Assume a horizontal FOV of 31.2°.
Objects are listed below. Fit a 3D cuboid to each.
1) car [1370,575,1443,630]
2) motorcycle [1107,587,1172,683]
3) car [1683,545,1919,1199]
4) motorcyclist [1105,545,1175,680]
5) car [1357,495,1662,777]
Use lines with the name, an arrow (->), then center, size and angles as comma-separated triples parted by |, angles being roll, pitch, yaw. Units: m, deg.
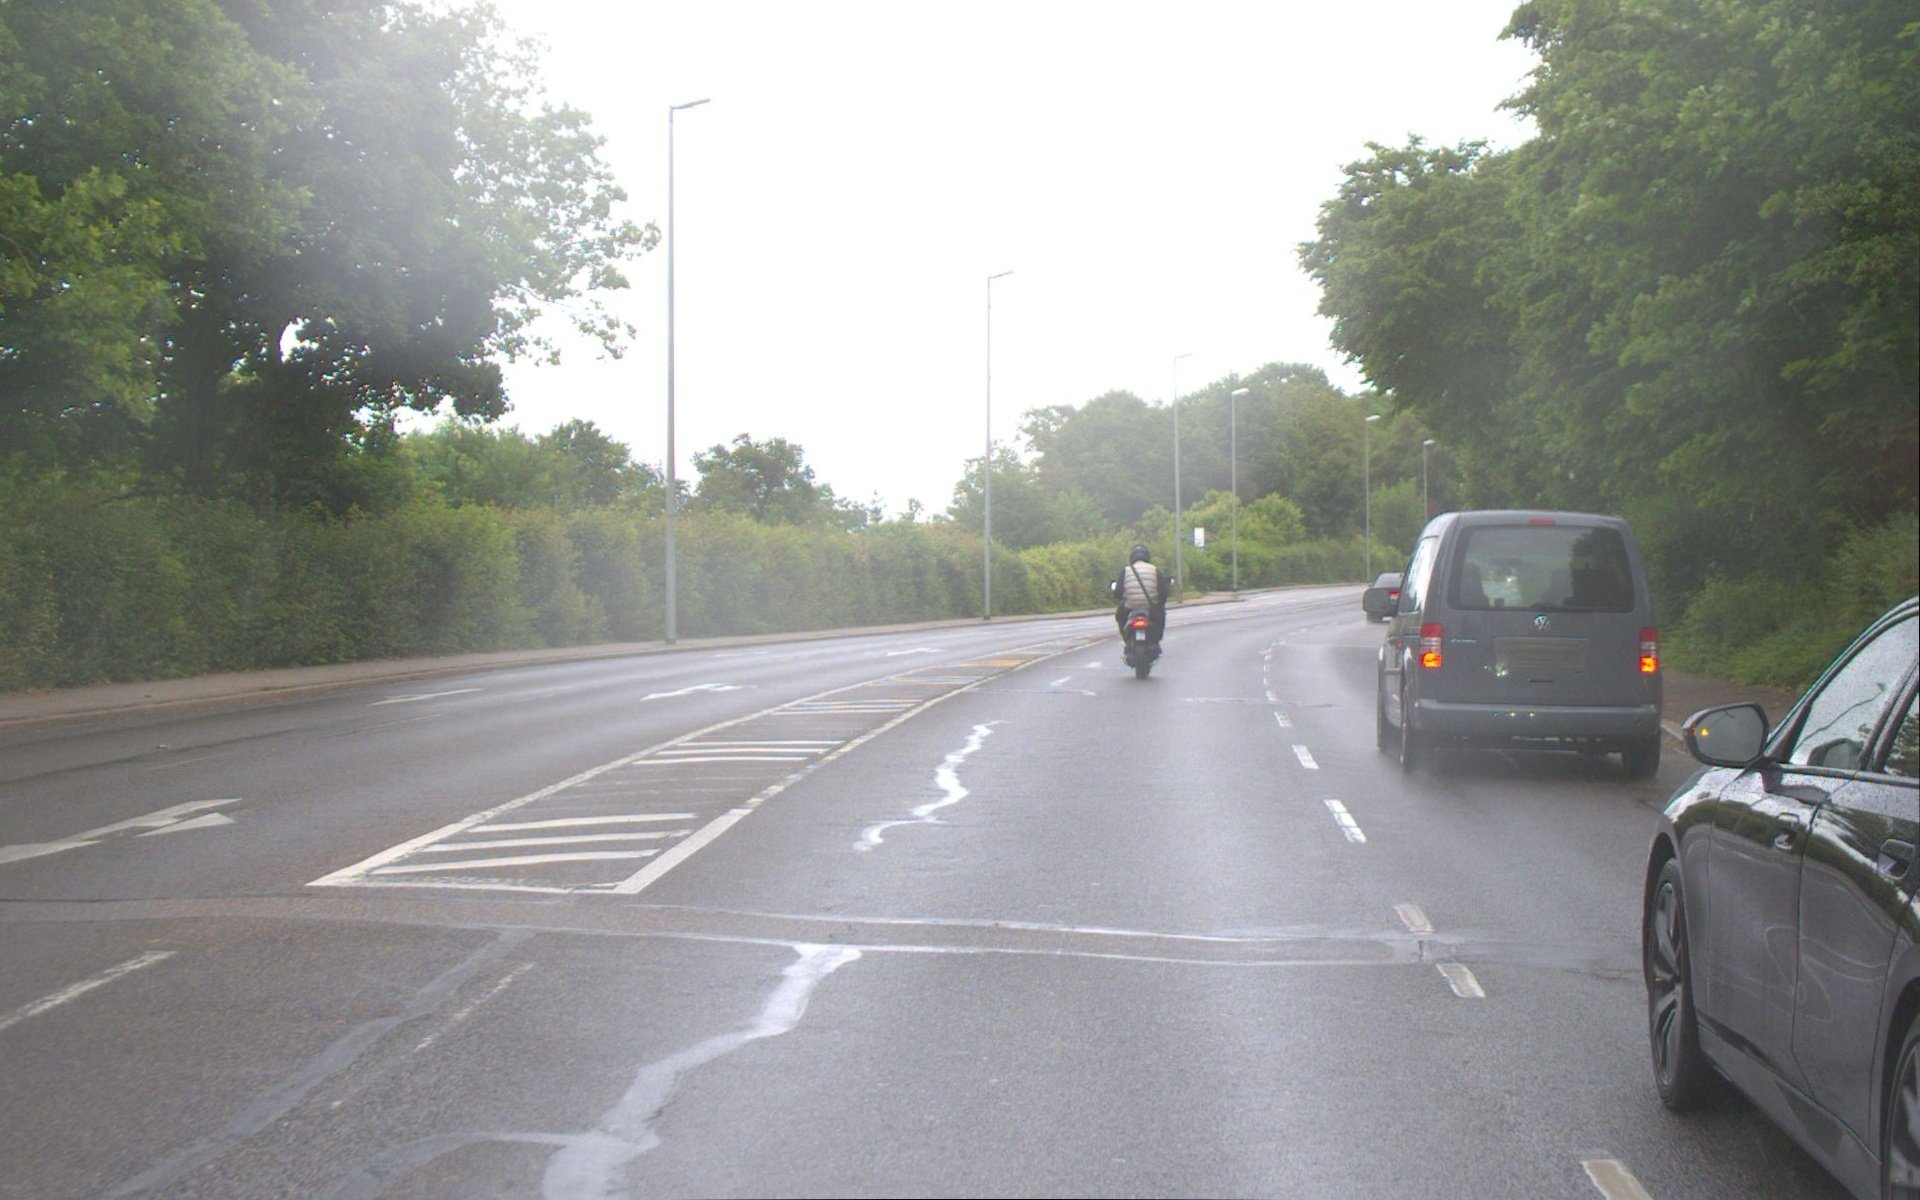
car -> 13.047, 0.060, 100.294 | 2.015, 1.410, 4.485 | 1, 2, 8
motorcycle -> 2.228, 0.421, 42.554 | 0.741, 1.115, 1.426 | 1, 2, 4
car -> 2.633, 0.672, 6.944 | 1.764, 1.531, 3.672 | 1, 1, 4
motorcyclist -> 2.223, 0.153, 42.428 | 0.845, 1.641, 0.468 | 0, 2, 4
car -> 3.844, 0.178, 24.607 | 1.767, 1.803, 3.905 | 1, 2, 4
